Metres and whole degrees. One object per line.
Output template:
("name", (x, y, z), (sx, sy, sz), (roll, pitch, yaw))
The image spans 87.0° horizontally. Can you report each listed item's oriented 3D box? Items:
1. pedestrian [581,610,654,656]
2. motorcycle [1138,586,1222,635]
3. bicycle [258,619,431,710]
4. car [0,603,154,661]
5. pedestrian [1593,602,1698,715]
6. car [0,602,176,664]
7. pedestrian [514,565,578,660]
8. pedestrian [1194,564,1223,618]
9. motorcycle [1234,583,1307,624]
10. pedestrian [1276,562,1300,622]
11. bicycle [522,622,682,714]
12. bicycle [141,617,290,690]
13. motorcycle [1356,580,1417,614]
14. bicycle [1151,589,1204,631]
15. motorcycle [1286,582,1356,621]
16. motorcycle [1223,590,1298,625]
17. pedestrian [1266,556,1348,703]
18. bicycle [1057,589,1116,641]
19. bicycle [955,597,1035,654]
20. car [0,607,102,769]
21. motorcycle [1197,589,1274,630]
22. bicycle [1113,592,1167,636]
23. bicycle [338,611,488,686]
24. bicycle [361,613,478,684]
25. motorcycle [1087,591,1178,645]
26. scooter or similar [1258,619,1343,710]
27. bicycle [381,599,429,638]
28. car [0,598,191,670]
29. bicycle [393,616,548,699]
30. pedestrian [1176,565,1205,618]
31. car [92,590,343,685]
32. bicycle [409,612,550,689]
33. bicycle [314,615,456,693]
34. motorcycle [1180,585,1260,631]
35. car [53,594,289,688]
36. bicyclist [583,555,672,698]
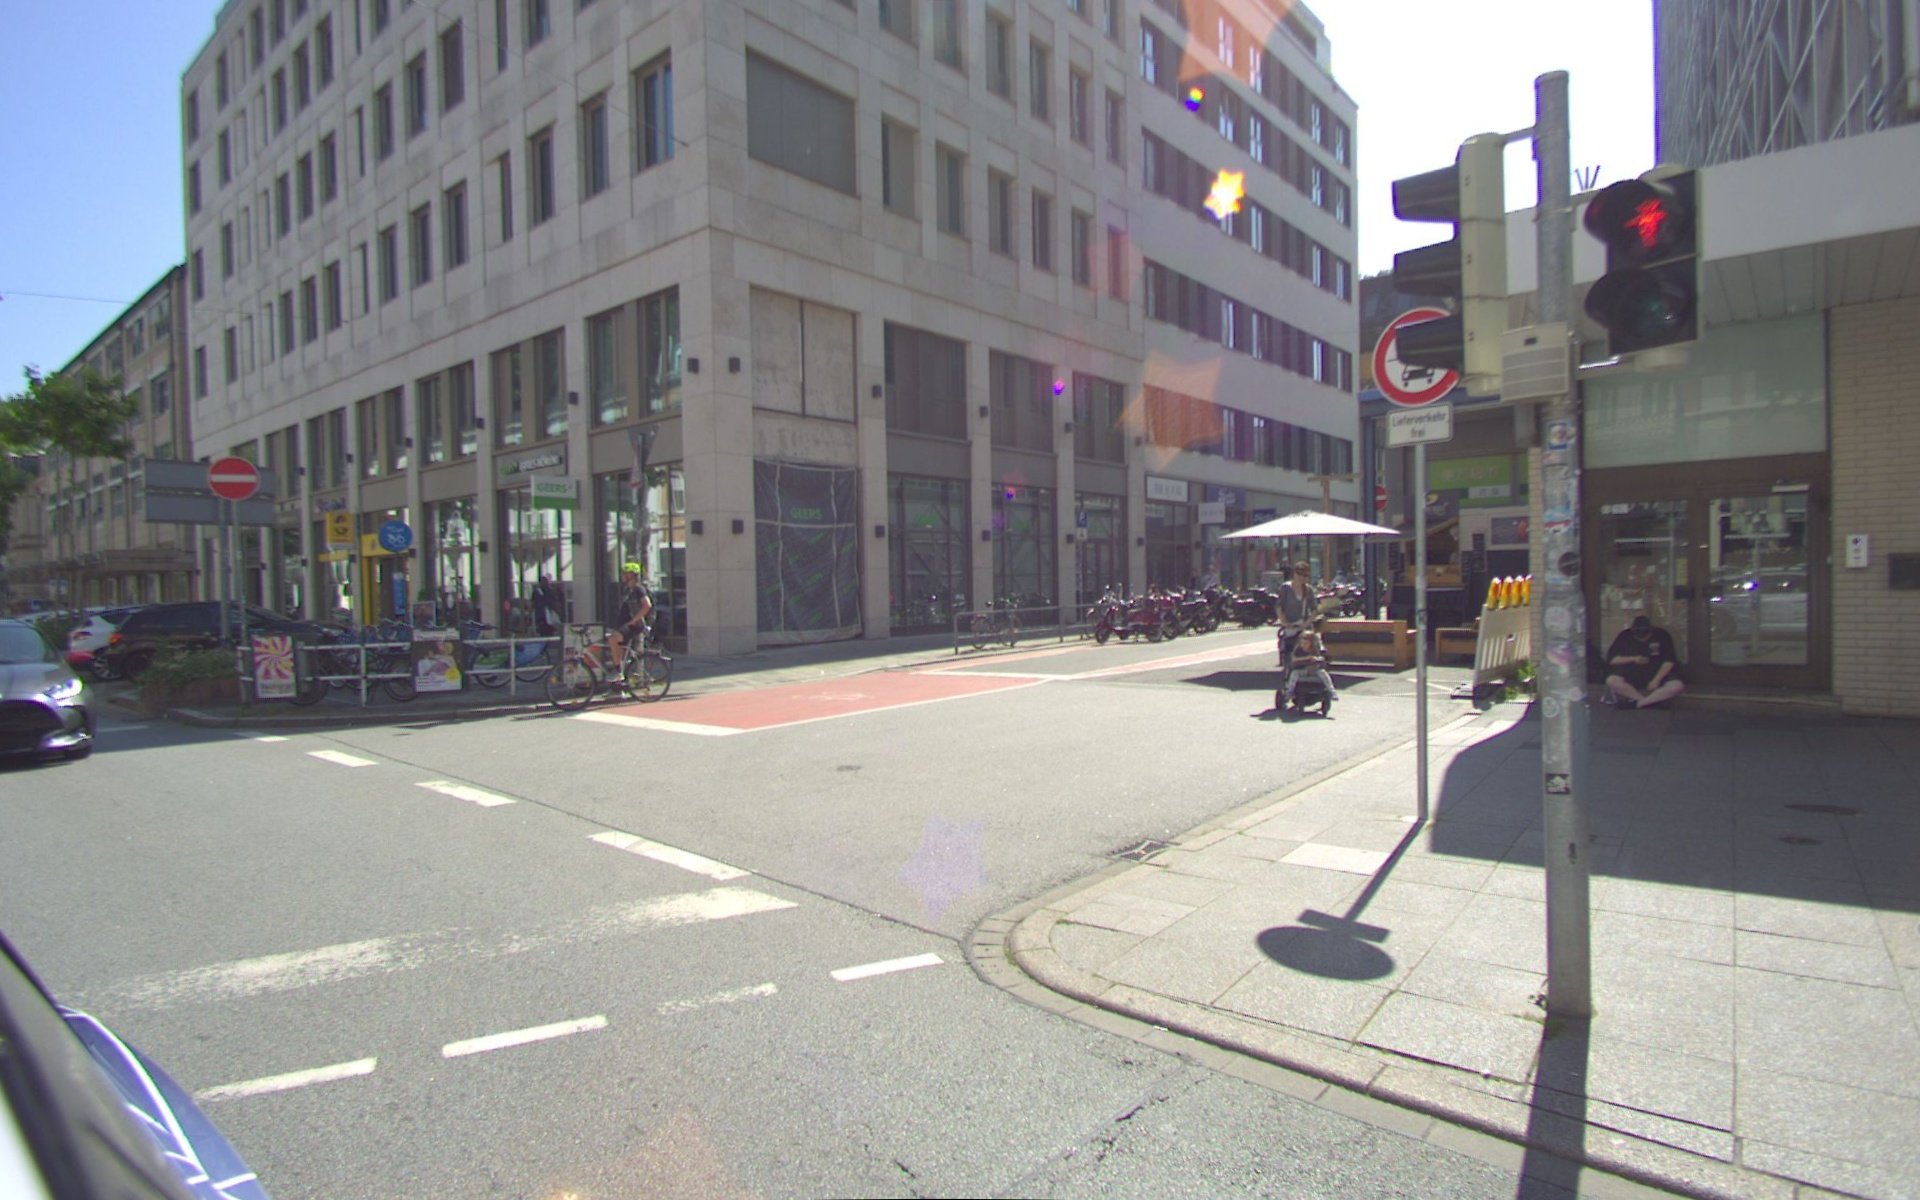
("pedestrian", (-7.449, 0.710, 22.042), (0.840, 0.932, 1.237), (-1, 0, 39))
("motorcycle", (5.777, 0.285, 26.604), (2.039, 1.182, 0.653), (-2, -1, 6))
("bicycle", (-8.794, 0.905, 14.514), (2.033, 1.182, 0.606), (-2, 2, -4))
("car", (-30.855, 1.044, 35.301), (1.819, 1.539, 3.948), (1, 5, 40))
("pedestrian", (7.180, 0.587, 10.603), (0.840, 1.065, 0.714), (-1, 5, 39))
("car", (-28.732, 1.051, 33.175), (4.426, 1.442, 1.869), (-7, 5, -29))
("pedestrian", (-8.775, 0.251, 21.441), (0.844, 1.892, 0.830), (-1, 5, 41))
("pedestrian", (8.334, -0.292, 33.932), (0.667, 1.771, 0.757), (-1, 0, 41))
("motorcycle", (9.769, 0.103, 31.856), (2.035, 1.182, 0.707), (-3, 1, 0))
("pedestrian", (12.816, -0.325, 39.545), (0.667, 2.309, 0.757), (-1, 0, 41))
("bicycle", (-5.056, 0.929, 14.379), (1.963, 1.135, 0.800), (-2, 0, -42))
("bicycle", (-13.743, 0.959, 18.746), (0.484, 1.135, 2.118), (-2, 2, 42))
("motorcycle", (16.379, -0.128, 38.892), (2.033, 1.182, 0.708), (-3, 1, -4))
("bicycle", (6.319, 0.271, 29.324), (0.570, 1.117, 2.037), (-2, 1, 40))
("motorcycle", (11.964, 0.044, 33.580), (2.034, 1.205, 0.708), (-2, 1, -3))
("motorcycle", (9.147, 0.219, 30.863), (2.040, 0.946, 0.706), (-2, 1, 7))
("pedestrian", (4.201, 0.340, 12.218), (0.835, 1.670, 0.839), (-2, 4, 22))
("bicycle", (3.198, 0.359, 25.467), (0.454, 1.135, 2.038), (5, 6, 39))
("bicycle", (0.795, 0.536, 22.543), (0.639, 1.135, 2.036), (3, 3, 41))
("car", (-10.512, 0.880, 10.613), (4.106, 1.489, 1.843), (-3, -2, 43))
("motorcycle", (8.002, 0.270, 29.422), (2.035, 1.074, 0.605), (-3, 1, 0))
("bicycle", (4.927, 0.364, 27.621), (0.454, 1.135, 2.037), (-2, 0, 40))
("bicycle", (-9.799, 0.844, 18.229), (2.289, 1.135, 0.564), (-4, 2, -24))
("bicycle", (-9.988, 0.878, 18.766), (1.835, 1.135, 0.486), (-4, 1, -24))
("motorcycle", (4.114, 0.439, 24.061), (2.045, 1.182, 0.654), (-3, -2, 15))
("scooter or similar", (4.013, 0.734, 11.930), (0.895, 0.972, 0.967), (-1, 1, 20))
("bicycle", (-16.758, 0.570, 30.521), (2.160, 1.115, 0.490), (-1, 3, 41))
("car", (-26.184, 0.979, 30.763), (3.971, 1.604, 1.825), (-6, 4, -16))
("bicycle", (-7.415, 0.858, 15.409), (2.030, 1.178, 0.607), (-1, 0, -12))
("pedestrian", (7.816, -0.291, 34.373), (0.667, 1.771, 0.757), (-1, 0, 41))
("car", (-15.678, 0.719, 21.668), (3.965, 1.614, 1.965), (-4, 3, -26))
("bicycle", (-7.857, 0.808, 16.649), (2.029, 1.135, 0.649), (-2, 1, -23))
("bicycle", (-9.819, 0.899, 17.366), (2.029, 1.135, 0.564), (-4, 1, -24))
("motorcycle", (7.241, 0.228, 28.194), (2.039, 1.182, 0.604), (-2, 1, 6))
("car", (-18.393, 0.867, 23.732), (4.108, 1.648, 2.105), (-7, 4, -41))
("bicyclist", (-4.783, 0.360, 14.564), (0.832, 1.974, 1.018), (-2, 1, -43))
